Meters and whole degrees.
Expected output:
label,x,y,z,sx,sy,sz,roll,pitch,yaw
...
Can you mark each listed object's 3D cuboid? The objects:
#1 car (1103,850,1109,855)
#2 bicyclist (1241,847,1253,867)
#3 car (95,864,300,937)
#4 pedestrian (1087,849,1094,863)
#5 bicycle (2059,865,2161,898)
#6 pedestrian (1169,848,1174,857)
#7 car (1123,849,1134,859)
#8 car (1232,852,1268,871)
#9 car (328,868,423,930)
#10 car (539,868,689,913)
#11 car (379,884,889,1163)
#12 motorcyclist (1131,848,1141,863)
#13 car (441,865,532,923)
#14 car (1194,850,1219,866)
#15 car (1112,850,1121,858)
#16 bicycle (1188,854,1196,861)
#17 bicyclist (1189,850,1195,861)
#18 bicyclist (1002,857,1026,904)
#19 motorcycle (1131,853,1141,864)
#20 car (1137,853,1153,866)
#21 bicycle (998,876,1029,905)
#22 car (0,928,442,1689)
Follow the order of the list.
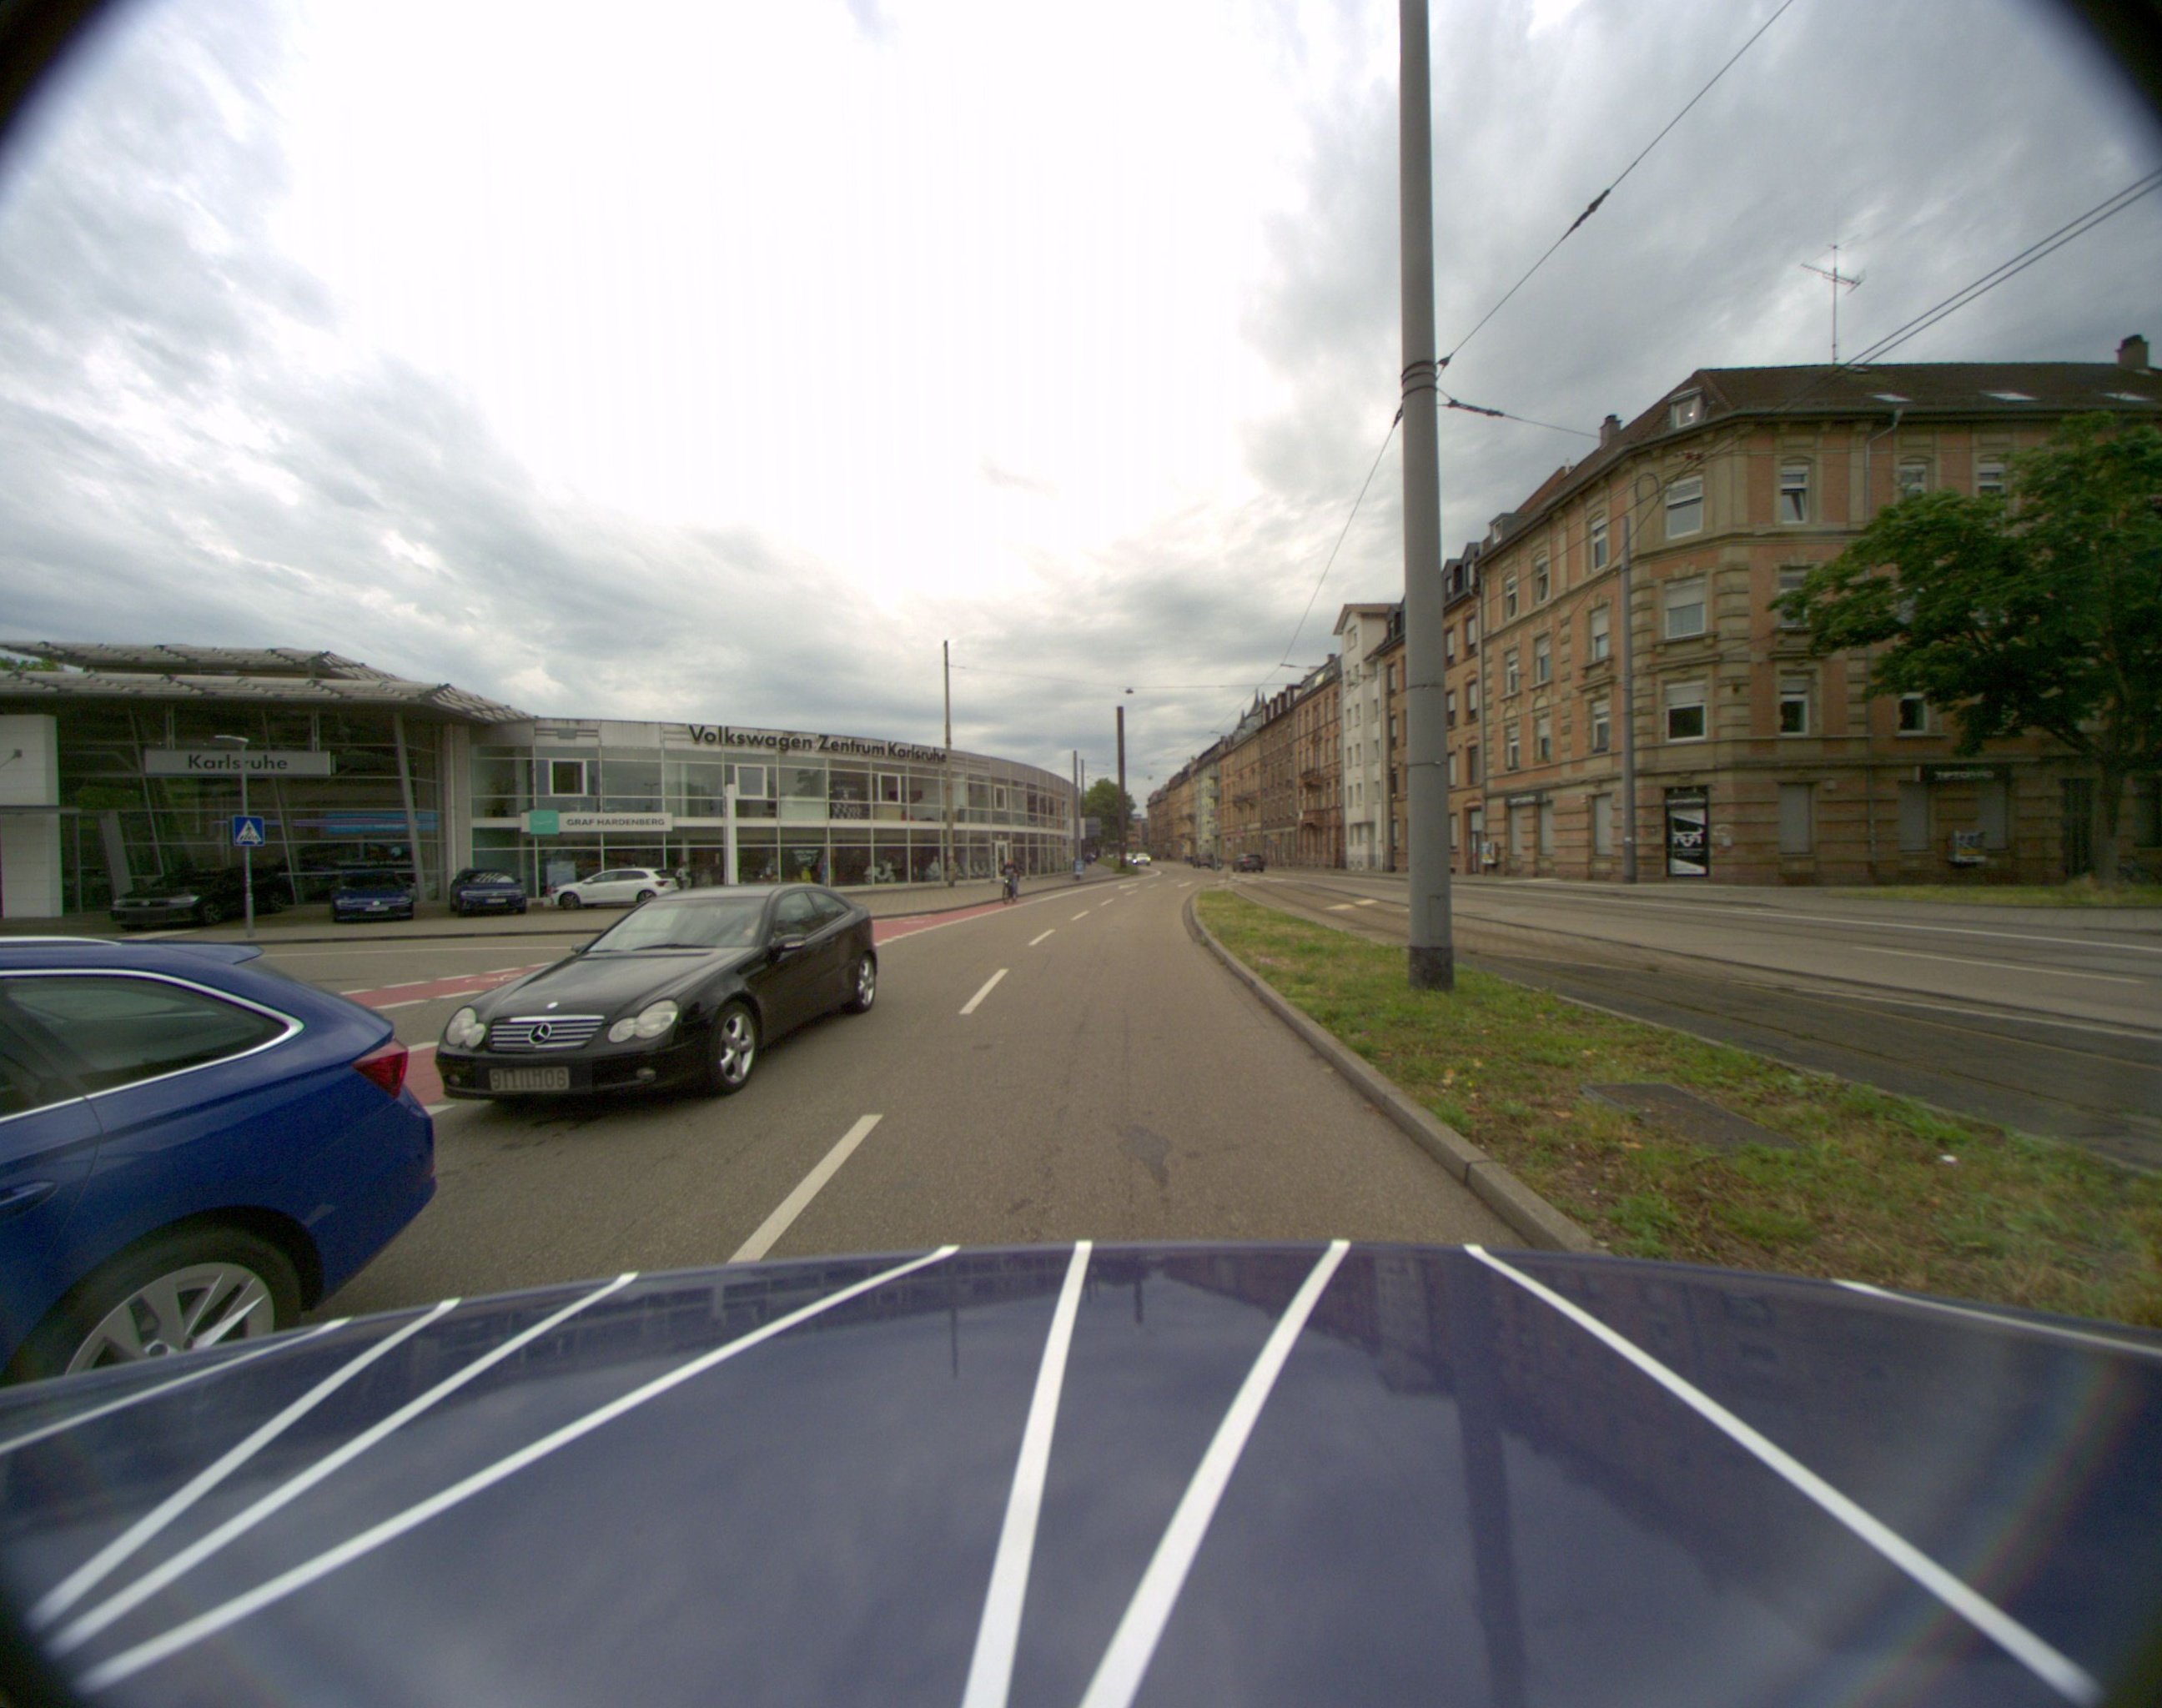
label,x,y,z,sx,sy,sz,roll,pitch,yaw
car,7.837,-0.531,234.568,1.802,1.630,4.230,-1,0,1
bicyclist,15.729,0.278,71.974,0.831,1.881,1.049,0,0,-1
car,-26.473,1.293,23.046,1.862,1.624,4.500,-3,4,-18
pedestrian,1.211,0.303,100.157,0.871,1.843,0.706,-1,1,1
bicycle,30.326,0.826,22.234,0.662,0.909,1.989,0,-3,-10
pedestrian,18.769,-0.312,157.528,0.814,2.002,0.733,-1,1,1
car,8.071,-0.028,129.224,1.802,1.630,4.230,-1,0,1
car,13.136,0.535,59.375,1.698,1.387,4.391,-1,0,-2
car,-22.198,1.314,23.843,4.325,1.496,1.862,3,3,43
car,-16.994,1.288,27.838,4.263,1.444,1.781,-1,0,-9
car,-3.104,1.072,6.421,1.714,1.413,4.070,-1,0,3
motorcyclist,5.894,0.125,81.929,0.960,1.560,1.116,-1,2,1
car,-20.162,1.277,25.716,1.905,1.554,4.207,-2,3,-45
car,12.986,0.398,78.633,1.802,1.630,4.229,-1,0,-1
car,7.943,0.014,169.639,1.802,1.630,4.230,-1,0,1
bicycle,15.150,0.491,103.703,0.607,0.910,1.719,-1,0,-4
bicyclist,15.158,0.170,103.644,0.663,1.486,0.942,-1,1,-3
bicyclist,-2.575,1.004,29.176,0.730,1.747,0.911,-1,1,7
motorcycle,5.899,0.493,81.909,0.960,1.128,2.712,-1,2,1
car,8.445,0.674,100.564,1.802,1.630,4.230,-1,0,1
bicycle,-2.563,1.376,29.148,0.727,1.003,2.177,-1,0,7
car,-3.184,1.038,0.432,1.784,1.480,4.465,-1,1,1
